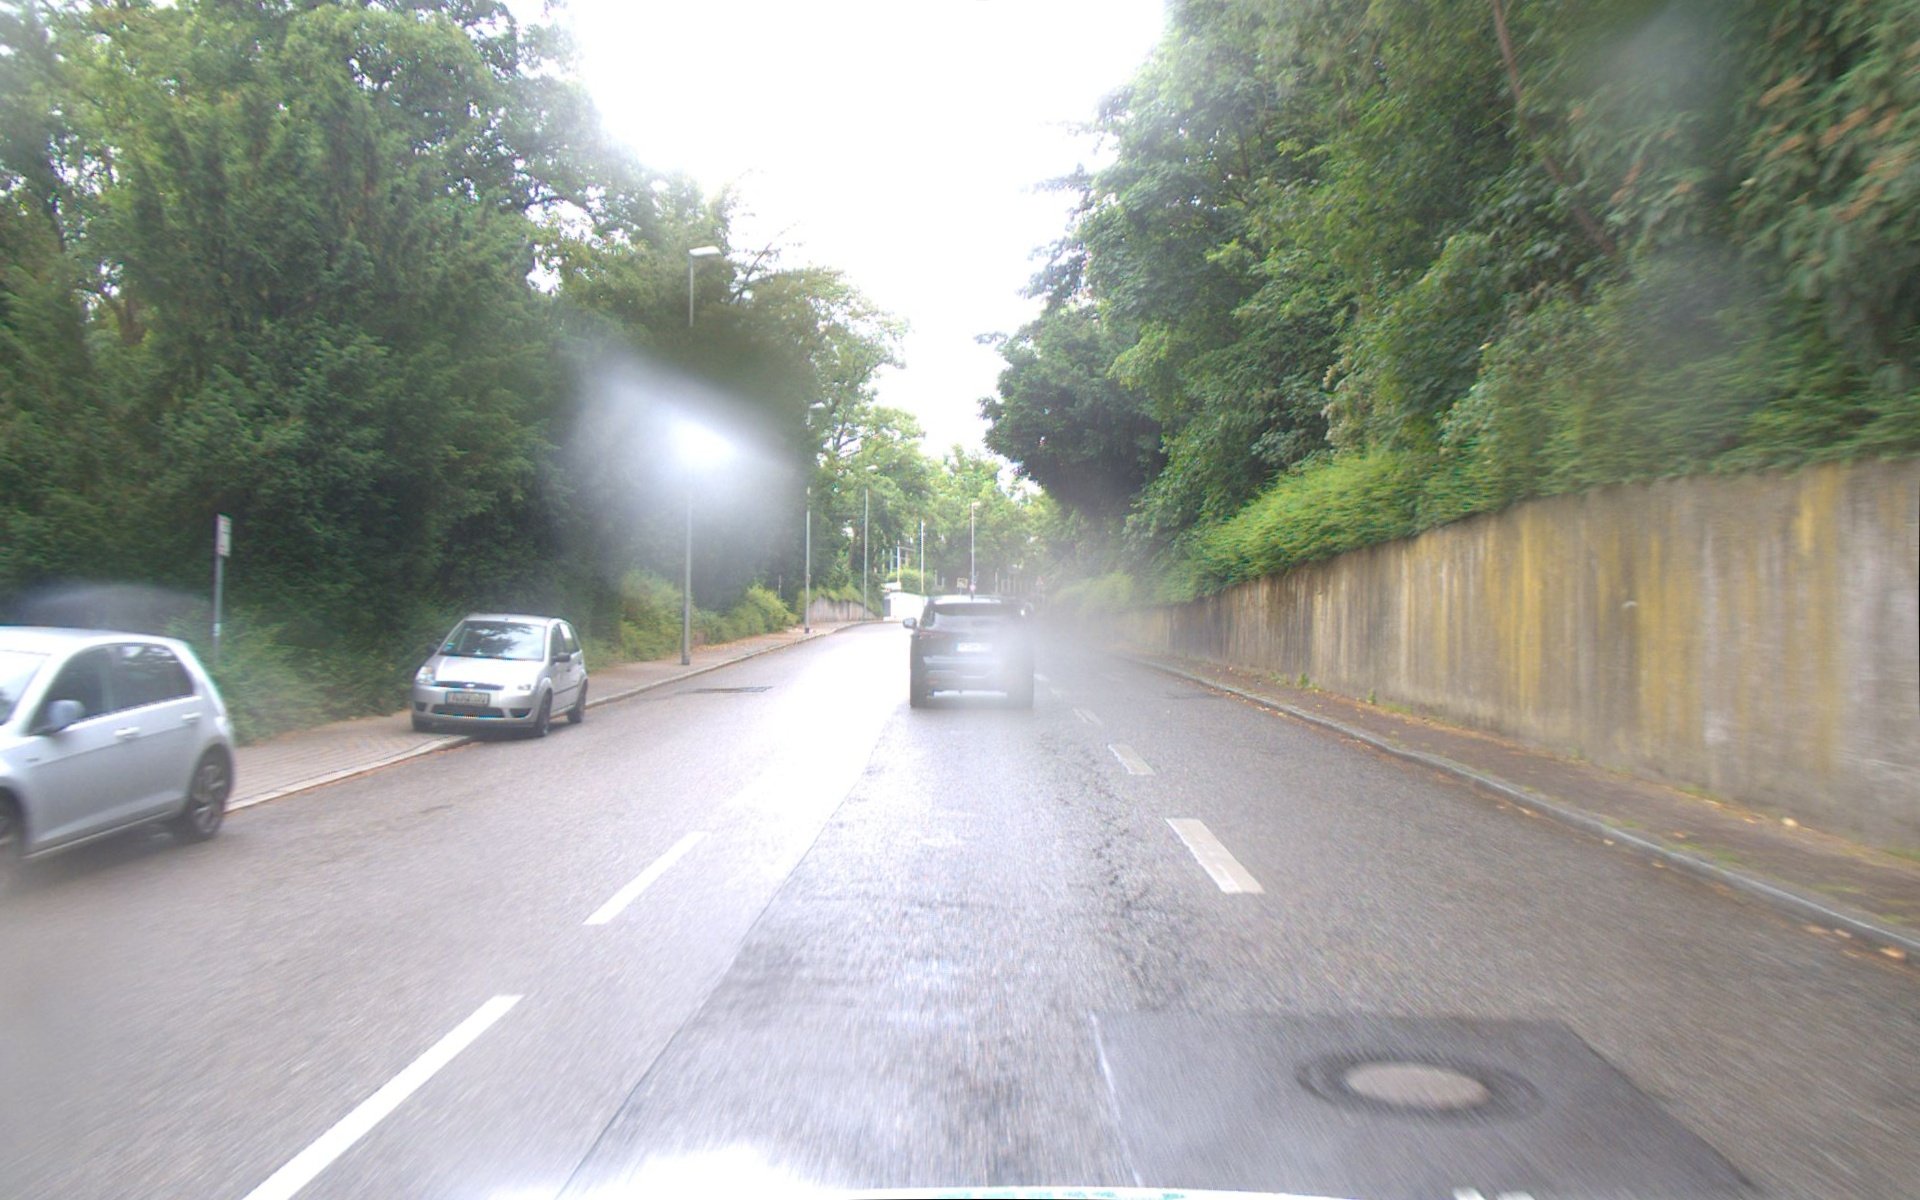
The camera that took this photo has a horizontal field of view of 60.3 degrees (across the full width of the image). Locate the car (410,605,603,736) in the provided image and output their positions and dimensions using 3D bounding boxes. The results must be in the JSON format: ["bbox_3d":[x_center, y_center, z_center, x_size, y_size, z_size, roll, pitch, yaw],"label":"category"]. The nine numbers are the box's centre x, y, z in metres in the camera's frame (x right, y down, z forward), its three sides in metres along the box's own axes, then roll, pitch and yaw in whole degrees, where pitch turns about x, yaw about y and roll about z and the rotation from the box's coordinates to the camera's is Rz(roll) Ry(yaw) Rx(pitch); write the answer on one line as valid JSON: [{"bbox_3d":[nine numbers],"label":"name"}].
[{"bbox_3d":[-5.887,0.860,21.899,1.593,1.525,3.926,2,0,-3],"label":"car"}]

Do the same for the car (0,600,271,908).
[{"bbox_3d":[-6.071,0.870,10.135,1.848,1.640,4.239,-3,0,0],"label":"car"}]

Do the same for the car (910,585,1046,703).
[{"bbox_3d":[0.240,0.609,24.938,1.889,1.641,3.999,0,0,-1],"label":"car"}]

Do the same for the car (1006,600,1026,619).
[{"bbox_3d":[5.188,0.922,154.282,1.792,1.741,4.000,0,0,1],"label":"car"}]
